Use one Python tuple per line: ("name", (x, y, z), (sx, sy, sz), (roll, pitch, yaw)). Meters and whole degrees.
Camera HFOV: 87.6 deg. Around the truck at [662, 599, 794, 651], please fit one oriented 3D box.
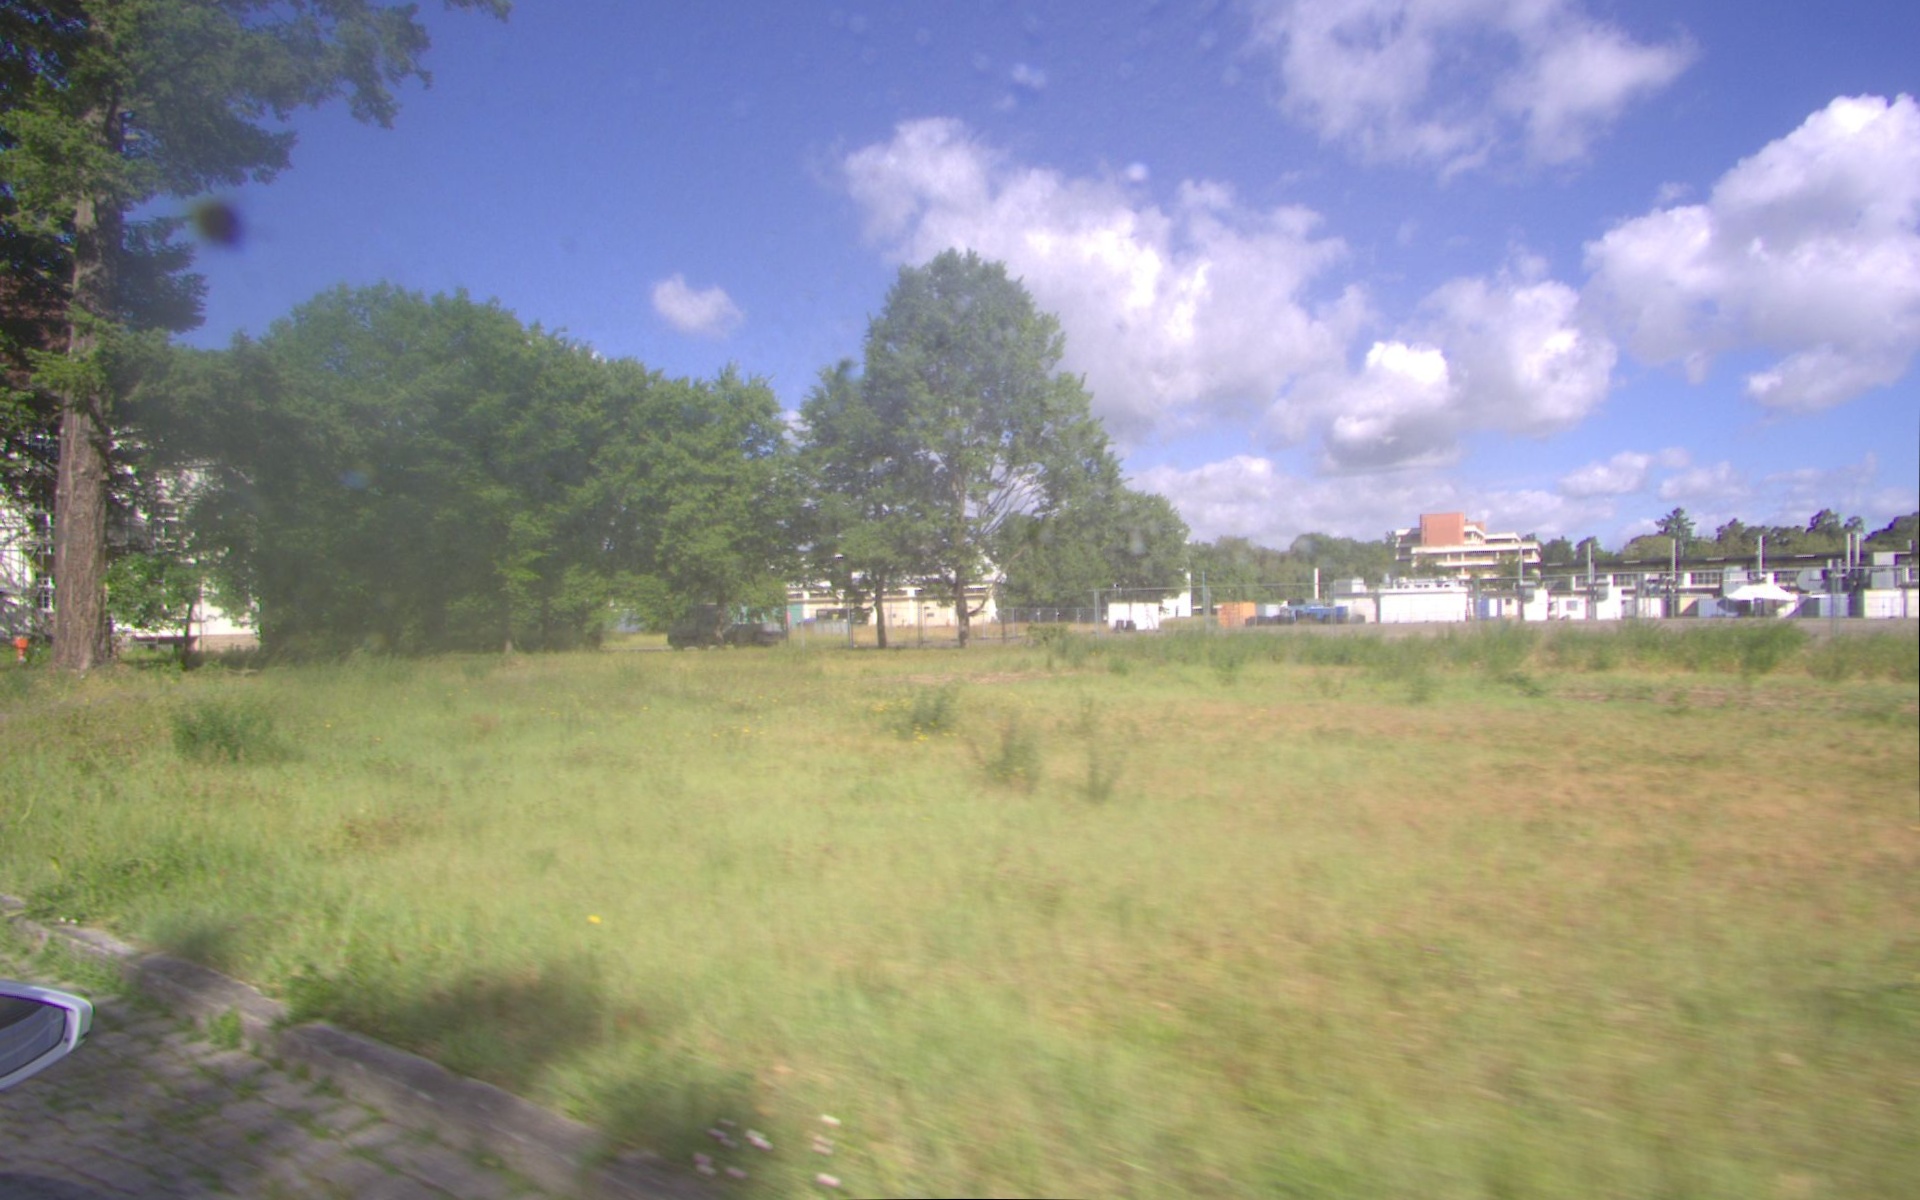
("truck", (-11.498, 1.278, 49.475), (6.788, 2.454, 2.230), (-1, -2, 32))
